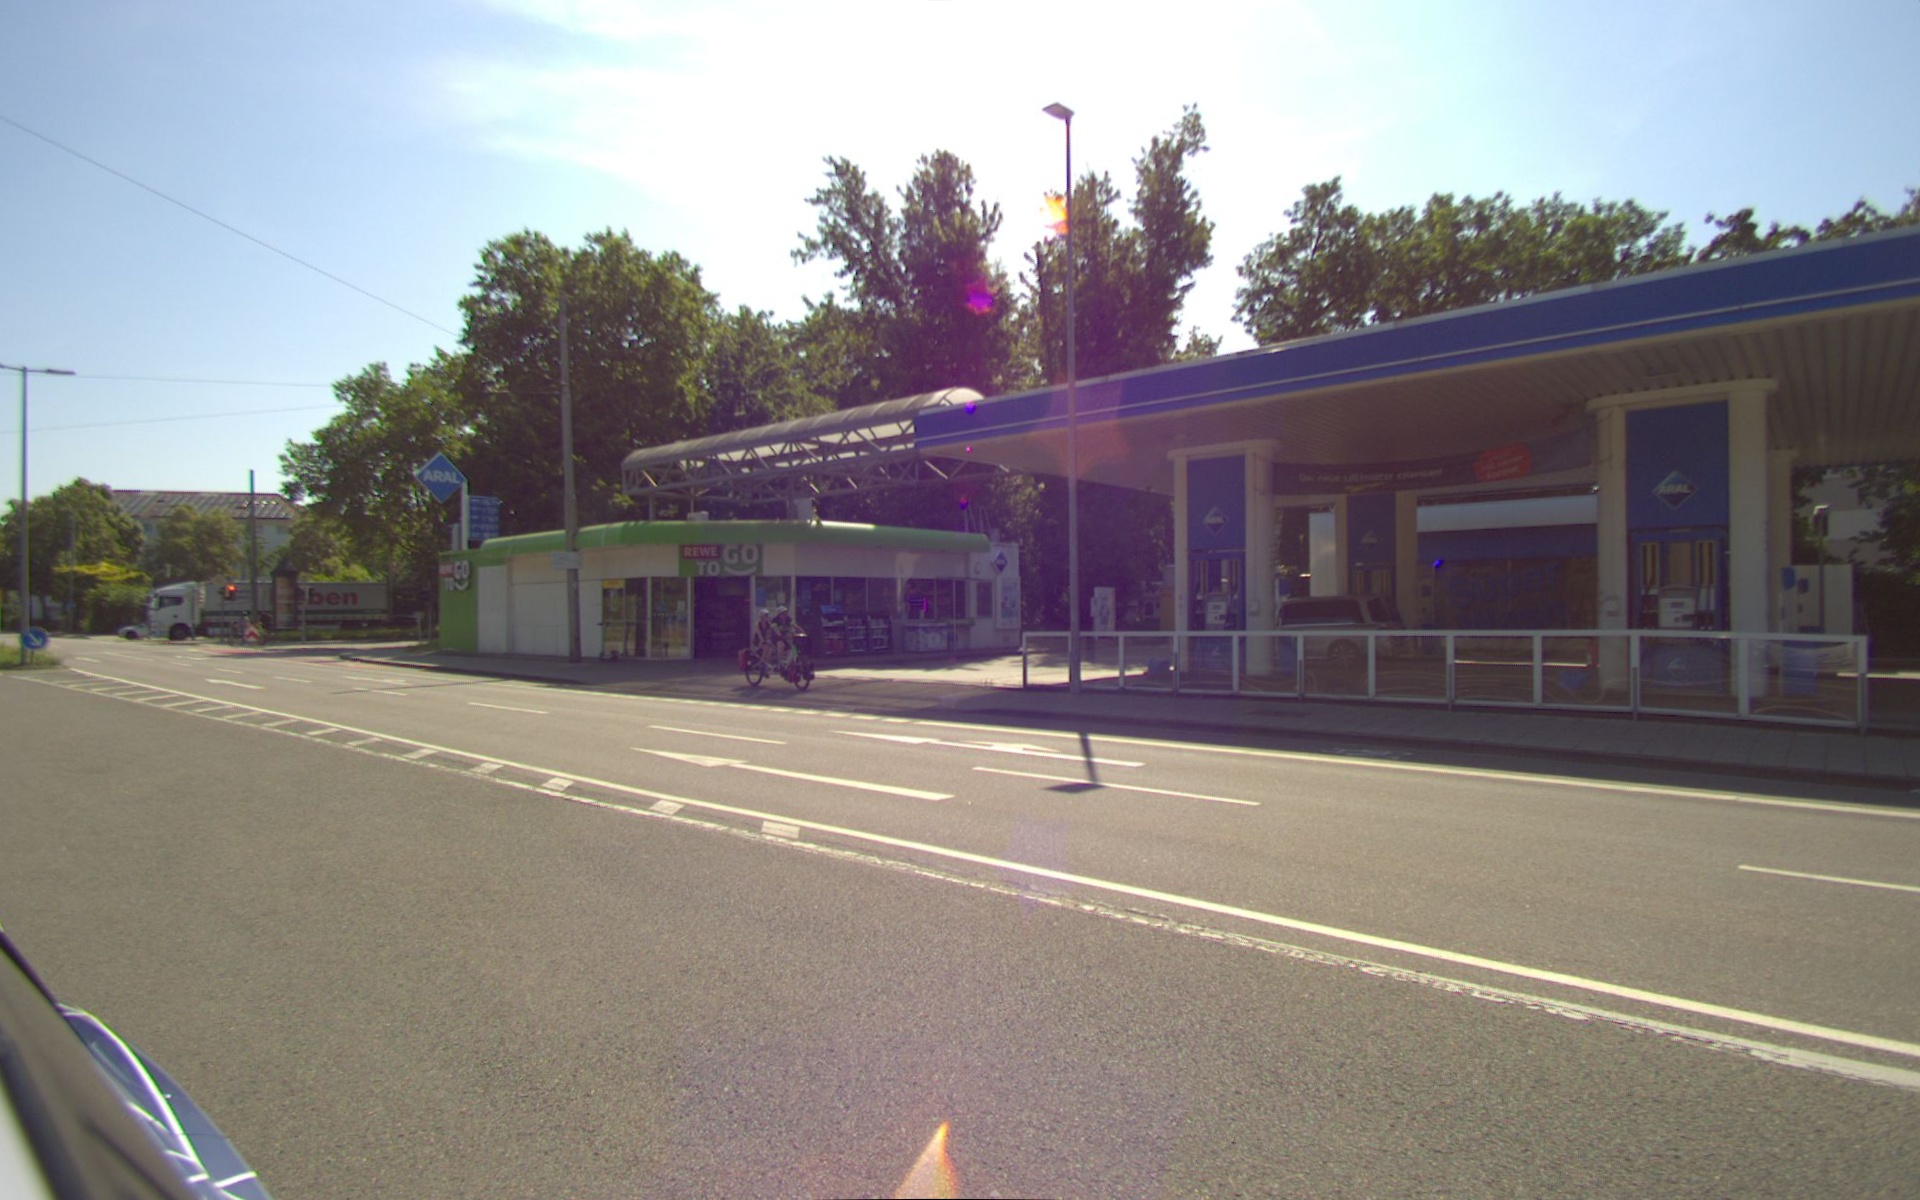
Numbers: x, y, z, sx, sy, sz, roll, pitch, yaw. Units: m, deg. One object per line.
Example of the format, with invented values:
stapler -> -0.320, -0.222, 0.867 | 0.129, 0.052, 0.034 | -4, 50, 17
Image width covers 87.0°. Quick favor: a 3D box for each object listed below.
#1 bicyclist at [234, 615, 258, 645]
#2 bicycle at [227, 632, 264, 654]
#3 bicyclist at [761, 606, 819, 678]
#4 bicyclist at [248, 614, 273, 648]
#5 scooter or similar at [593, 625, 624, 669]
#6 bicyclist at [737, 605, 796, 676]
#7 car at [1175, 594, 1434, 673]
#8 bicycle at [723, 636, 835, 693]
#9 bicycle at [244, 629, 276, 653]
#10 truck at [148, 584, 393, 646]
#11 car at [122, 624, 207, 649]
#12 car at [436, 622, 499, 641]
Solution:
bicyclist -> -35.263, 1.488, 49.983 | 0.737, 1.431, 0.702 | -3, -2, 32
bicycle -> -35.379, 2.135, 50.100 | 2.069, 1.066, 0.745 | -1, -1, 32
bicyclist -> -3.531, 0.860, 21.031 | 0.832, 1.447, 0.837 | -2, -2, 43
bicyclist -> -35.933, 1.572, 51.981 | 0.826, 1.687, 0.826 | -4, -2, 40
scooter or similar -> -10.384, 1.380, 29.900 | 0.436, 1.247, 1.348 | 0, -2, -39
bicyclist -> -4.122, 0.862, 21.591 | 0.832, 1.446, 0.838 | -3, 0, 43
car -> 8.592, 0.838, 25.694 | 5.960, 1.795, 1.825 | -2, -2, 40
bicycle -> -3.853, 1.333, 21.315 | 2.773, 1.103, 0.816 | -3, 0, 44
bicycle -> -36.030, 2.117, 52.078 | 2.211, 1.184, 0.927 | -2, -1, 43
truck -> -48.405, 1.061, 71.764 | 14.089, 4.038, 2.857 | 1, -2, -44
car -> -55.852, 2.563, 71.155 | 4.322, 1.522, 1.761 | -2, -2, -18
car -> -40.609, 2.615, 83.482 | 4.303, 1.379, 1.759 | -1, -2, -41
